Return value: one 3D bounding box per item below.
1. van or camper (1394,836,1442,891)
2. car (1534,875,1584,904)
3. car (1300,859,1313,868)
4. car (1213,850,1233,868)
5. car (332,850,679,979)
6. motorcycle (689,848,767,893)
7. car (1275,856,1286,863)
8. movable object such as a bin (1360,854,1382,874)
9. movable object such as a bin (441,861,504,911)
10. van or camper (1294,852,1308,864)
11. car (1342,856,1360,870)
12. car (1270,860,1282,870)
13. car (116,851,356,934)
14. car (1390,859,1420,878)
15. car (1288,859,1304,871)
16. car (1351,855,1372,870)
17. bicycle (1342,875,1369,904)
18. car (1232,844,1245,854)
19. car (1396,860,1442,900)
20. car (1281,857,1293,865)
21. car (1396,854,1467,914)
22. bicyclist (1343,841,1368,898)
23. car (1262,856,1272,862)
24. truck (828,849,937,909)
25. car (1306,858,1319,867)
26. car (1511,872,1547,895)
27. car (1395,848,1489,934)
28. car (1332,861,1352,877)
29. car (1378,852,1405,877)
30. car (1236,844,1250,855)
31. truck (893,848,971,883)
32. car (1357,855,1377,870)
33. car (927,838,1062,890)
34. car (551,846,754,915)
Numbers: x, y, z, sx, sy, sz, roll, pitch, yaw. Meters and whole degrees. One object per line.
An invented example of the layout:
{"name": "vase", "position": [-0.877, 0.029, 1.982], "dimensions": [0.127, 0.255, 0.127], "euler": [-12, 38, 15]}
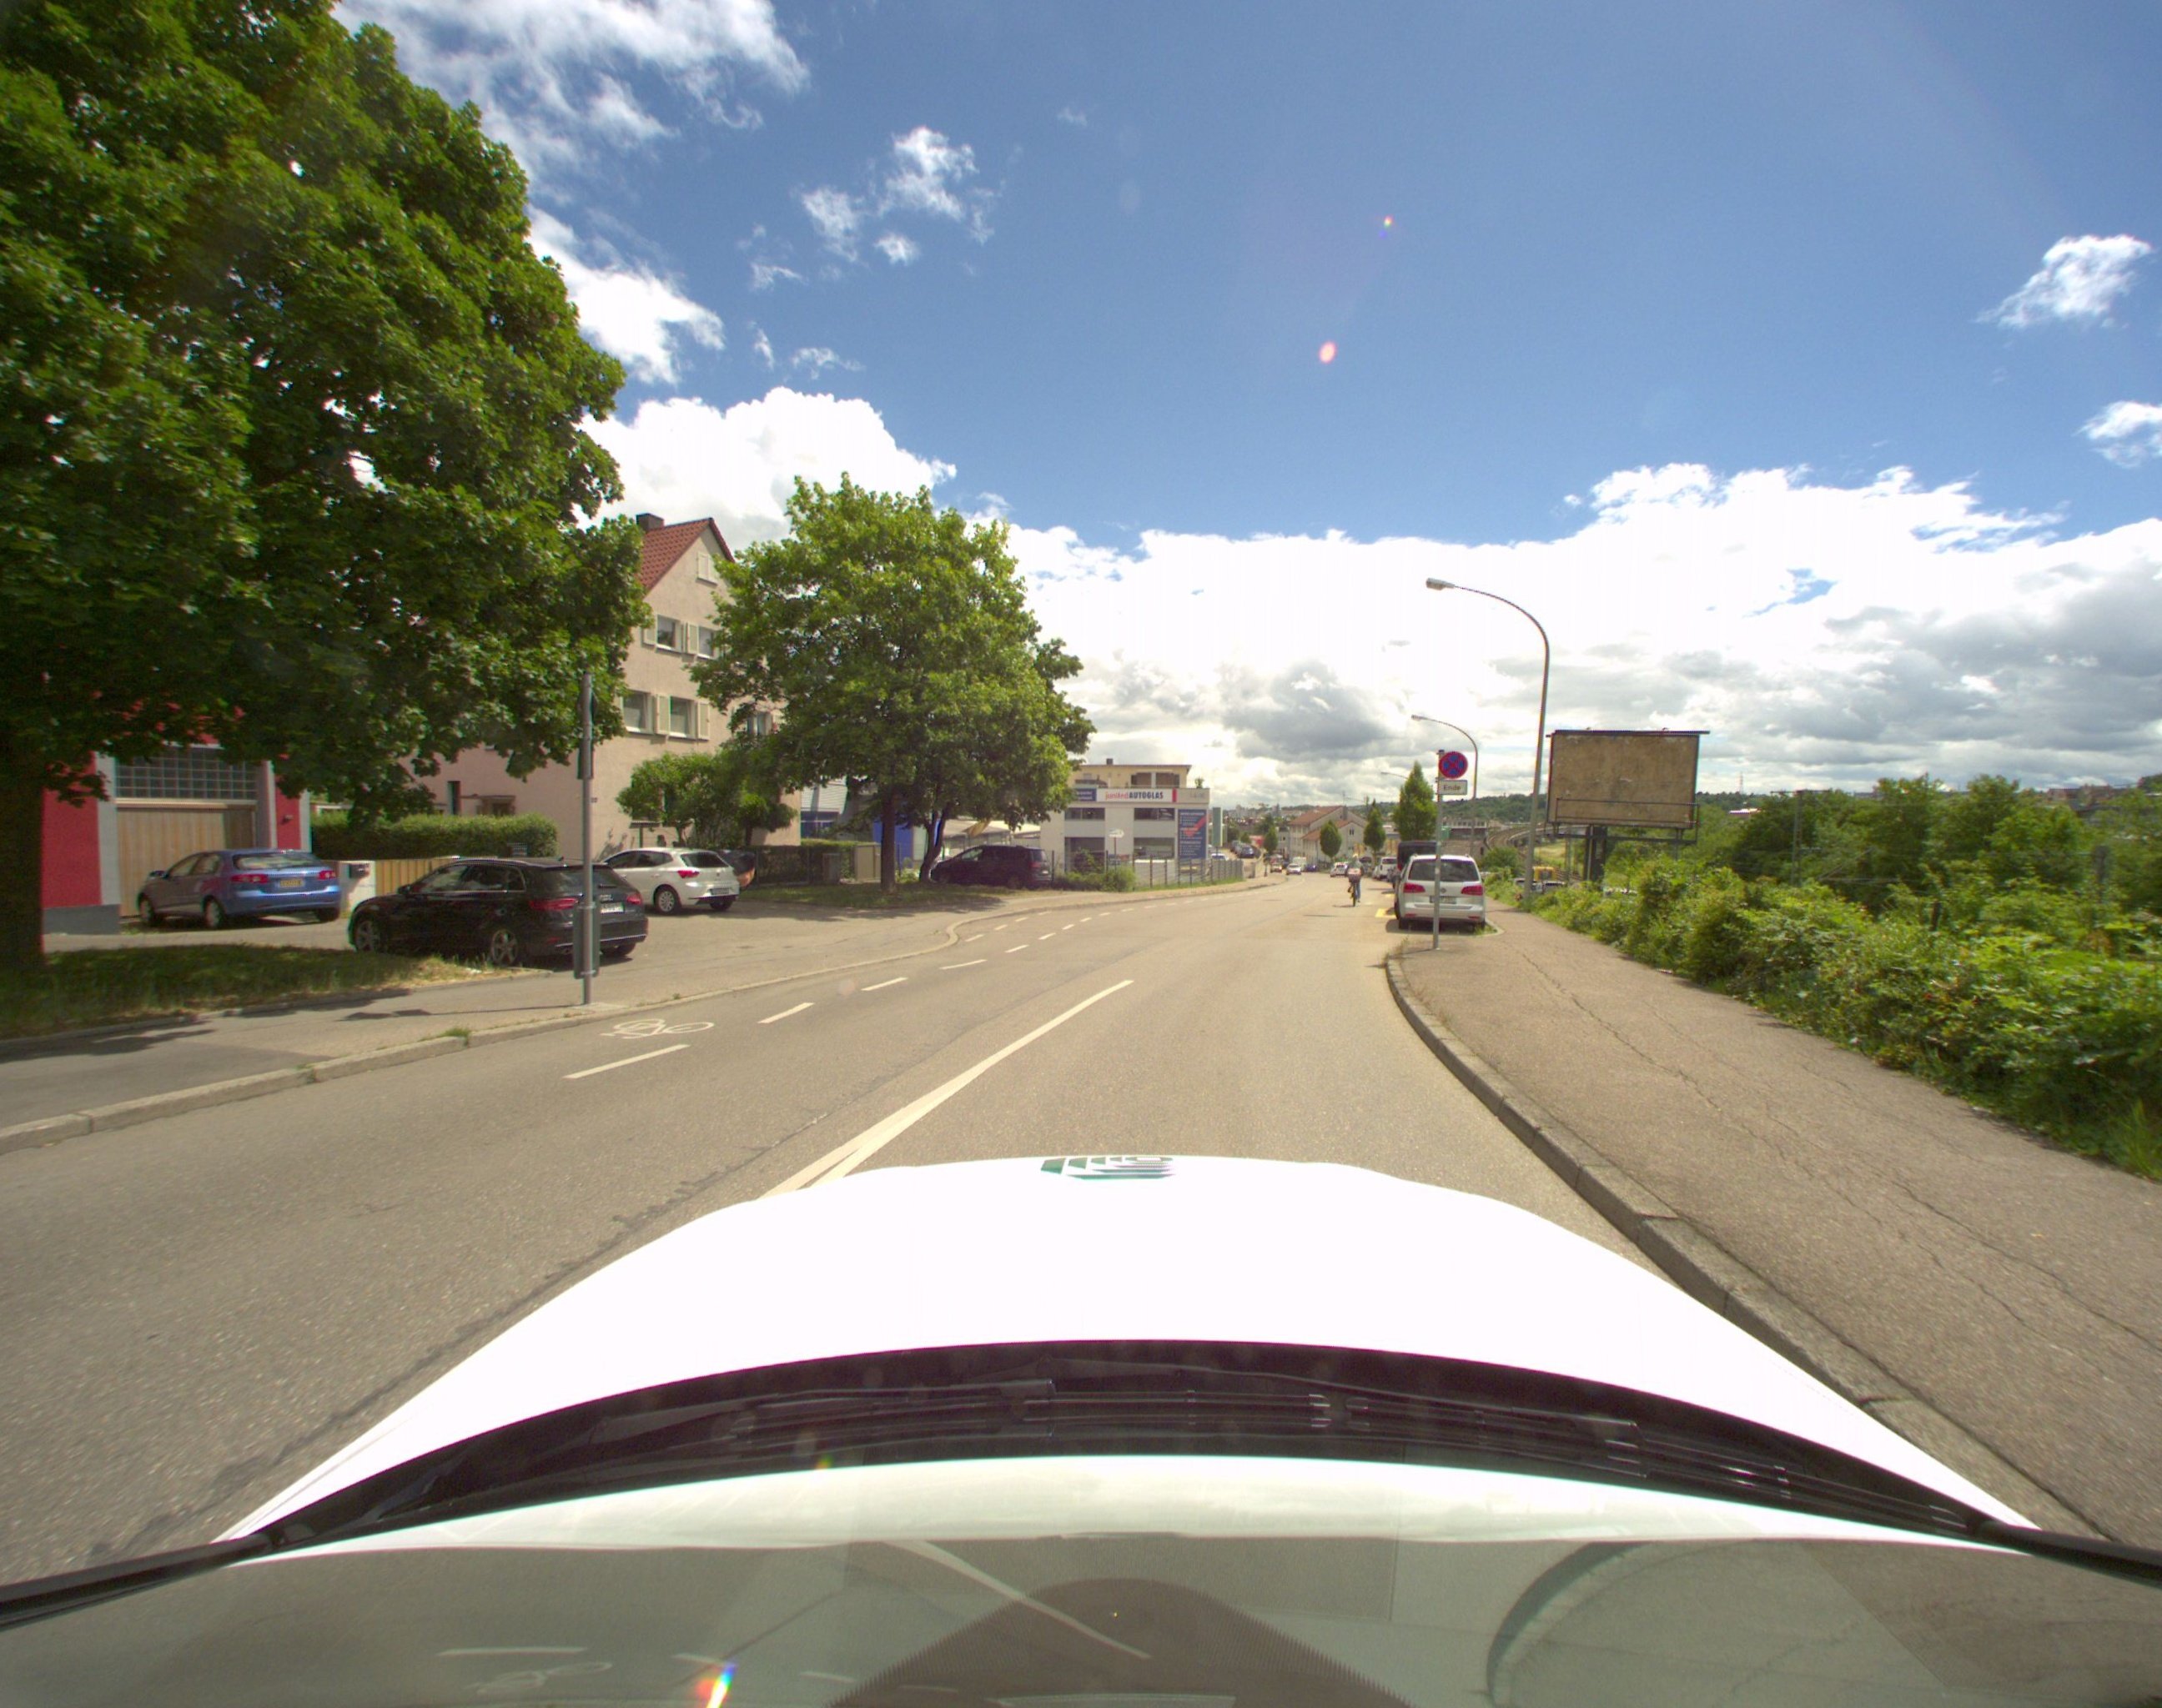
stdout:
{"name": "van or camper", "position": [16.954, 0.454, 41.154], "dimensions": [2.106, 2.585, 5.948], "euler": [0, 0, 21]}
{"name": "car", "position": [27.409, 2.028, 46.813], "dimensions": [1.778, 1.506, 3.898], "euler": [-1, -1, 20]}
{"name": "car", "position": [39.597, 1.713, 142.917], "dimensions": [1.979, 1.464, 4.015], "euler": [-1, -1, 14]}
{"name": "car", "position": [13.845, 0.484, 79.532], "dimensions": [1.837, 1.650, 4.009], "euler": [-1, -1, 8]}
{"name": "car", "position": [-8.013, 0.711, 11.391], "dimensions": [4.095, 1.393, 2.011], "euler": [2, 1, 22]}
{"name": "motorcycle", "position": [-11.047, 0.485, 25.593], "dimensions": [0.910, 1.315, 2.247], "euler": [2, 1, 20]}
{"name": "car", "position": [43.111, 1.255, 175.920], "dimensions": [1.981, 1.464, 4.010], "euler": [-1, -1, 9]}
{"name": "movable object such as a bin", "position": [34.028, 1.144, 95.467], "dimensions": [2.119, 2.303, 2.567], "euler": [-1, -1, 13]}
{"name": "movable object such as a bin", "position": [-13.928, 0.718, 18.656], "dimensions": [0.749, 1.061, 0.885], "euler": [2, 1, 25]}
{"name": "van or camper", "position": [39.862, 0.697, 147.737], "dimensions": [1.982, 2.013, 4.009], "euler": [3, 1, 8]}
{"name": "car", "position": [34.953, 1.170, 105.595], "dimensions": [1.800, 1.706, 4.014], "euler": [-1, -1, 13]}
{"name": "car", "position": [30.969, 1.789, 129.275], "dimensions": [1.697, 1.574, 4.013], "euler": [-1, -1, 11]}
{"name": "car", "position": [-16.040, 0.658, 15.483], "dimensions": [3.769, 1.377, 1.853], "euler": [0, 1, 22]}
{"name": "car", "position": [24.883, 1.099, 62.615], "dimensions": [1.888, 1.442, 3.560], "euler": [-1, -1, 17]}
{"name": "car", "position": [28.913, 1.520, 109.564], "dimensions": [1.692, 1.562, 4.339], "euler": [0, 0, 10]}
{"name": "car", "position": [34.442, 1.056, 100.076], "dimensions": [2.119, 1.706, 4.014], "euler": [-1, -1, 13]}
{"name": "bicycle", "position": [8.974, 1.150, 26.581], "dimensions": [0.681, 0.878, 2.113], "euler": [-1, -1, 22]}
{"name": "car", "position": [23.091, -0.701, 119.326], "dimensions": [1.661, 1.323, 3.726], "euler": [-1, -1, 8]}
{"name": "car", "position": [14.471, 1.069, 34.980], "dimensions": [1.691, 1.510, 3.715], "euler": [2, 1, 21]}
{"name": "car", "position": [41.673, 1.440, 164.856], "dimensions": [1.981, 1.464, 4.010], "euler": [-1, -1, 9]}
{"name": "car", "position": [10.088, 0.776, 23.679], "dimensions": [1.691, 1.487, 4.597], "euler": [2, 1, 21]}
{"name": "bicyclist", "position": [8.937, 0.496, 26.534], "dimensions": [0.678, 1.826, 1.086], "euler": [-1, -1, 22]}
{"name": "car", "position": [45.441, 1.335, 199.004], "dimensions": [1.982, 1.420, 4.009], "euler": [-1, -1, 8]}
{"name": "truck", "position": [-10.231, 1.229, 42.649], "dimensions": [2.436, 2.873, 5.915], "euler": [0, 0, 23]}
{"name": "car", "position": [39.254, 1.486, 138.114], "dimensions": [1.979, 1.464, 4.015], "euler": [-1, -1, 14]}
{"name": "car", "position": [31.195, 2.056, 56.788], "dimensions": [1.673, 1.506, 3.898], "euler": [-1, -1, 20]}
{"name": "car", "position": [8.116, 0.733, 18.589], "dimensions": [1.691, 1.677, 4.330], "euler": [2, 1, 21]}
{"name": "car", "position": [28.238, 1.627, 88.091], "dimensions": [1.978, 1.618, 4.018], "euler": [-1, -1, 17]}
{"name": "car", "position": [26.318, 0.863, 69.149], "dimensions": [1.977, 2.013, 4.941], "euler": [1, 0, 18]}
{"name": "car", "position": [20.185, -0.511, 101.433], "dimensions": [1.660, 1.324, 3.728], "euler": [0, -1, 10]}
{"name": "truck", "position": [-12.068, 0.953, 66.026], "dimensions": [5.748, 2.706, 2.183], "euler": [-1, -1, 8]}
{"name": "car", "position": [31.815, 0.961, 90.766], "dimensions": [1.978, 1.618, 4.018], "euler": [-1, -1, 17]}
{"name": "car", "position": [-3.311, 0.372, 31.265], "dimensions": [4.659, 1.716, 2.010], "euler": [2, -1, 21]}
{"name": "car", "position": [-9.676, 0.540, 18.459], "dimensions": [3.888, 1.404, 1.885], "euler": [0, 0, 18]}
